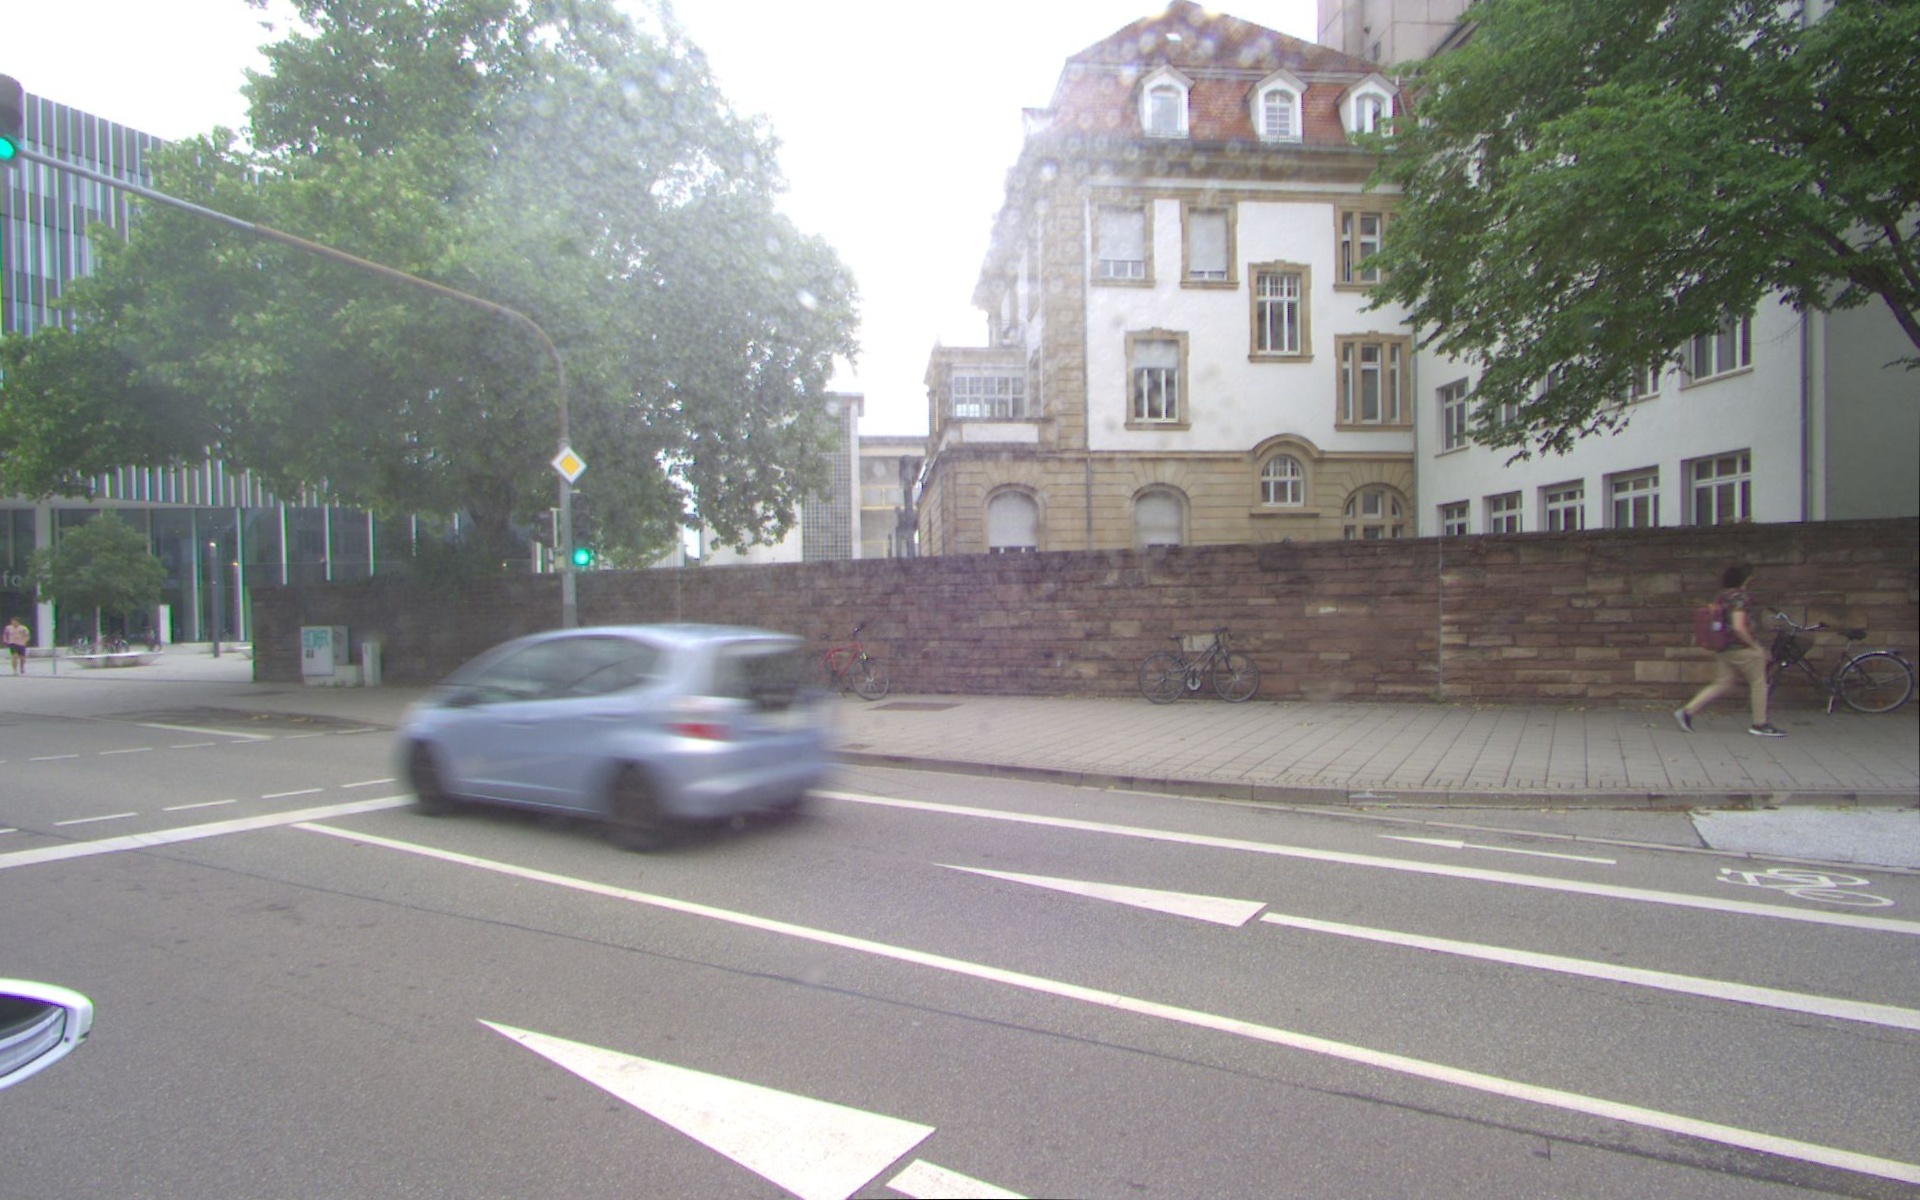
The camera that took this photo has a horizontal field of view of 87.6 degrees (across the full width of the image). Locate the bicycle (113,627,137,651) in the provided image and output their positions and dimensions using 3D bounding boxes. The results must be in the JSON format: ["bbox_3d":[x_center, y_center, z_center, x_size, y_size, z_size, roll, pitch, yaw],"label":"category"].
[{"bbox_3d":[-40.480,1.864,48.559,0.802,1.070,1.933,-2,2,-38],"label":"bicycle"}]

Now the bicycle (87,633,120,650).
[{"bbox_3d":[-41.616,2.027,48.681,0.510,0.726,1.525,-1,1,-11],"label":"bicycle"}]

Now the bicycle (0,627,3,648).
[{"bbox_3d":[-48.438,1.906,49.937,0.613,1.060,1.696,-2,2,-31],"label":"bicycle"}]

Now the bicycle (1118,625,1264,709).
[{"bbox_3d":[3.281,0.930,14.162,1.934,1.088,0.941,-1,2,17],"label":"bicycle"}]

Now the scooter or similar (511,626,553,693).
[{"bbox_3d":[-8.364,1.137,19.546,0.427,1.195,1.693,-3,2,-33],"label":"scooter or similar"}]

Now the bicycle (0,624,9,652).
[{"bbox_3d":[-46.275,1.824,48.204,0.522,1.270,1.652,-3,2,-39],"label":"bicycle"}]

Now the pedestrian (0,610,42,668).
[{"bbox_3d":[-29.740,1.226,31.658,0.756,1.789,0.845,0,2,32],"label":"pedestrian"}]

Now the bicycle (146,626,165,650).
[{"bbox_3d":[-39.228,1.825,48.839,0.616,1.070,1.933,-2,2,-38],"label":"bicycle"}]

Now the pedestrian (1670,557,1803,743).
[{"bbox_3d":[8.050,0.491,10.432,1.018,1.846,0.629,0,2,32],"label":"pedestrian"}]

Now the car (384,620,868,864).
[{"bbox_3d":[-2.656,0.915,7.776,3.607,1.485,1.664,-1,-1,32],"label":"car"}]

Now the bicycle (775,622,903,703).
[{"bbox_3d":[-1.973,0.987,16.300,1.923,1.190,0.802,-1,3,27],"label":"bicycle"}]

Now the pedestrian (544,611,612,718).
[{"bbox_3d":[-5.980,0.989,15.698,0.627,1.584,0.658,0,5,32],"label":"pedestrian"}]

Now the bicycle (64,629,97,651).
[{"bbox_3d":[-42.547,1.934,48.483,0.686,0.959,1.975,-2,1,-27],"label":"bicycle"}]

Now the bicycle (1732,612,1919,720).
[{"bbox_3d":[10.173,0.744,11.502,1.889,1.143,0.849,-1,2,17],"label":"bicycle"}]
